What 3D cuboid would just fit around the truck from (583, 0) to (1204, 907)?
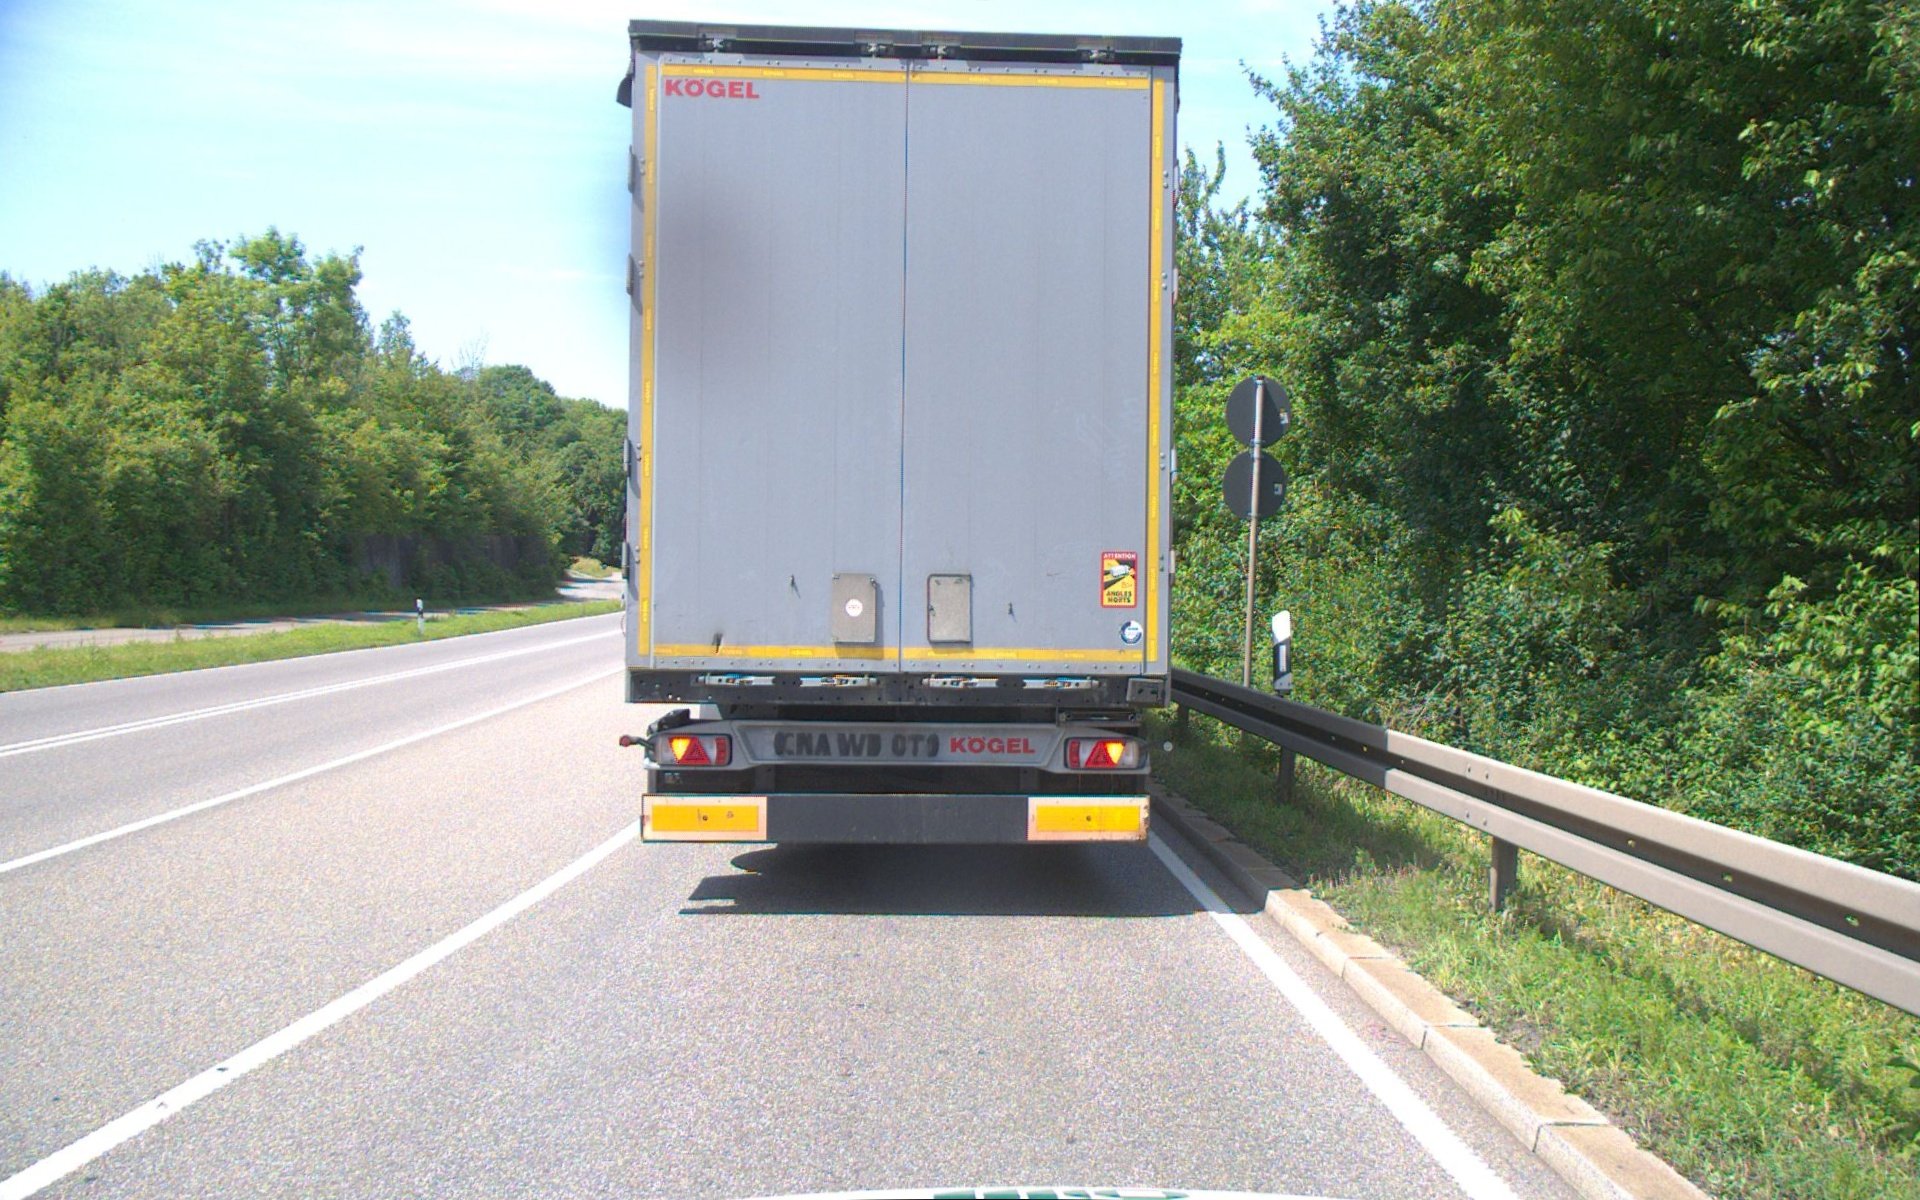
[{"bbox_3d":[-0.442,-0.743,13.269,2.701,4.100,11.920,1,0,-2],"label":"truck"}]
